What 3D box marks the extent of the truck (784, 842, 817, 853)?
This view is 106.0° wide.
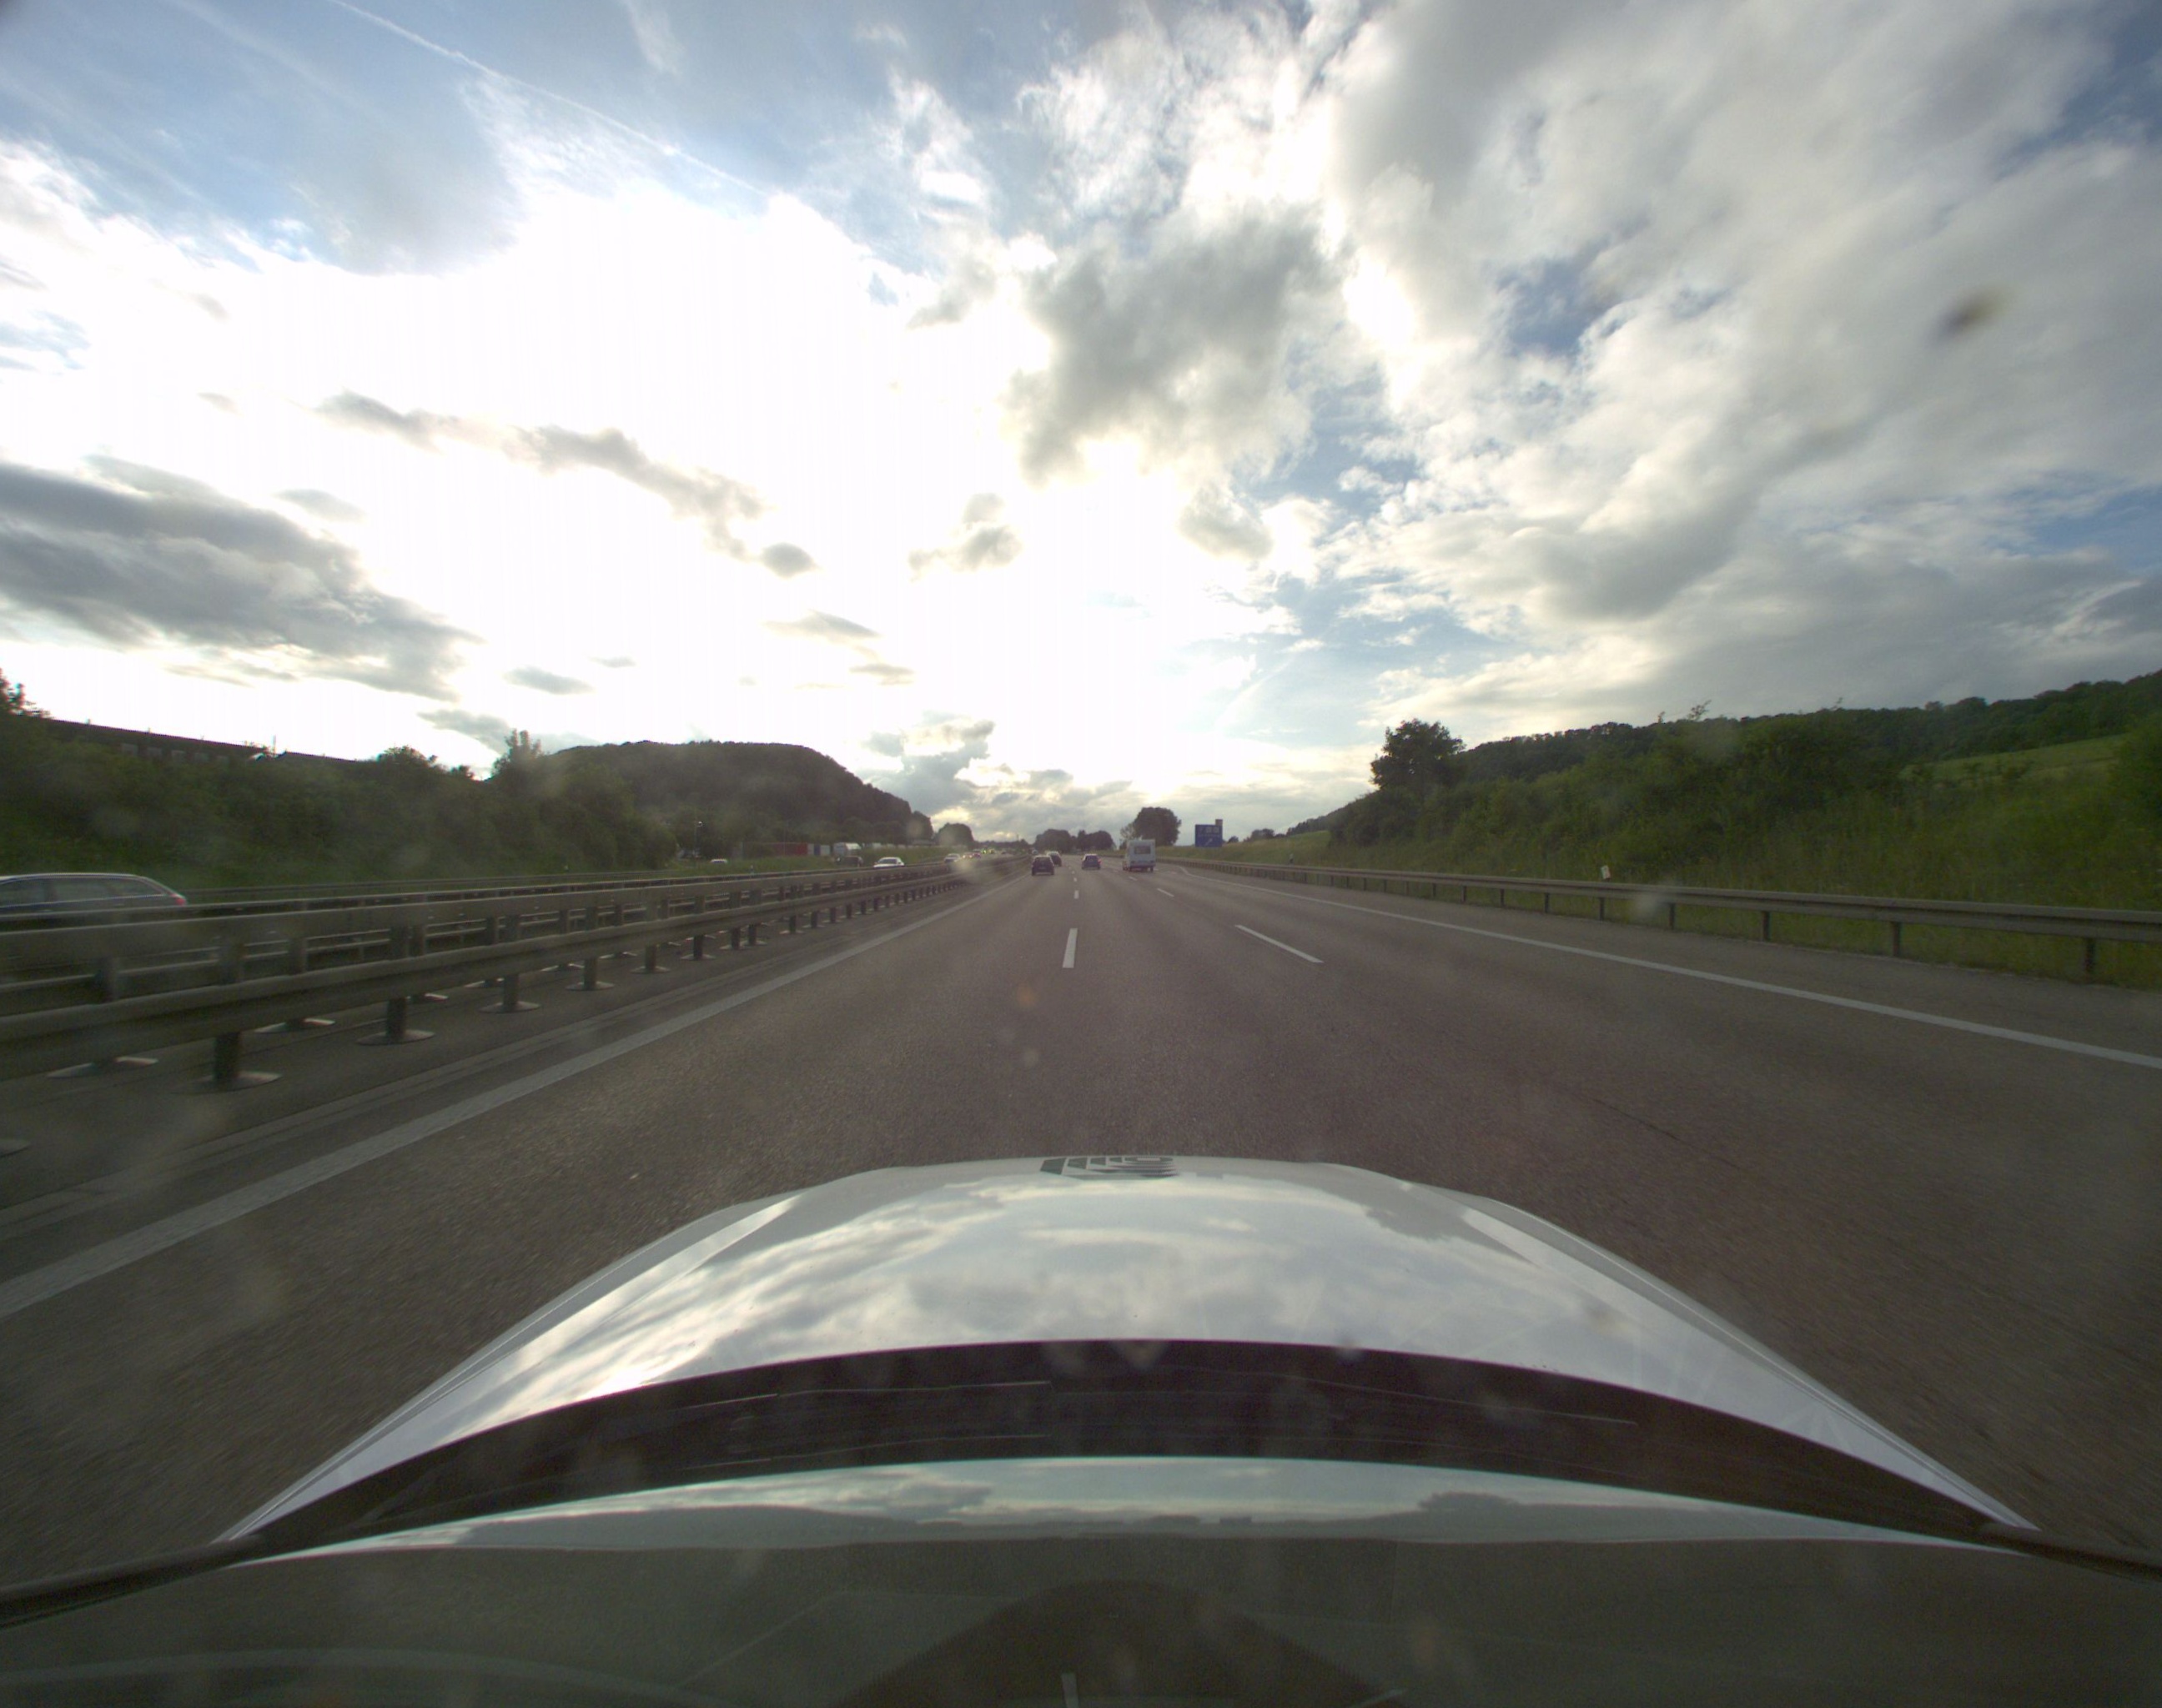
[{"bbox_3d":[-57.827,-1.290,167.822,7.214,2.226,2.919,-1,0,39],"label":"truck"}]

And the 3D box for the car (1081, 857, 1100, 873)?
[{"bbox_3d":[0.892,1.046,78.081,1.761,1.433,3.999,-2,0,0],"label":"car"}]

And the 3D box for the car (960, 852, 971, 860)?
[{"bbox_3d":[-22.723,0.436,160.602,1.991,1.497,4.683,-1,0,-5],"label":"car"}]

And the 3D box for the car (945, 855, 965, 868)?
[{"bbox_3d":[-16.690,0.975,108.029,1.988,1.497,4.689,-2,0,-2],"label":"car"}]

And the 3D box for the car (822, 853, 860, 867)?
[{"bbox_3d":[-31.038,0.761,105.386,4.610,1.551,1.991,-2,0,-14],"label":"car"}]

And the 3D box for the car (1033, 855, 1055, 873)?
[{"bbox_3d":[-2.762,0.749,61.726,1.533,1.348,3.675,-1,0,-1],"label":"car"}]

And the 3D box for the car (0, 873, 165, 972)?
[{"bbox_3d":[-17.419,1.074,12.538,1.985,1.486,4.004,-1,-1,4],"label":"car"}]

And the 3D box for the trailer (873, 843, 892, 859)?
[{"bbox_3d":[-47.250,-0.629,194.359,2.875,3.696,13.637,-2,0,-8],"label":"trailer"}]

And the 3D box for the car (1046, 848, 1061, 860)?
[{"bbox_3d":[-3.224,-0.037,94.997,1.562,1.380,3.995,-1,0,-3],"label":"car"}]

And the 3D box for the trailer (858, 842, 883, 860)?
[{"bbox_3d":[-44.372,-0.566,172.244,2.873,3.696,13.648,-2,0,-6],"label":"trailer"}]

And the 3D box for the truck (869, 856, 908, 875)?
[{"bbox_3d":[-14.726,0.873,62.418,1.988,1.365,4.642,-1,0,-2],"label":"truck"}]

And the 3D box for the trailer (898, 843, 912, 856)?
[{"bbox_3d":[-51.369,-1.327,237.879,2.873,3.696,10.353,-2,0,-5],"label":"trailer"}]

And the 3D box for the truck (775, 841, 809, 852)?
[{"bbox_3d":[-57.701,-1.418,162.629,7.214,2.014,2.918,-1,-1,39],"label":"truck"}]

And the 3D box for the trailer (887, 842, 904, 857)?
[{"bbox_3d":[-49.080,-1.147,215.576,2.873,3.696,10.353,-2,0,-5],"label":"trailer"}]

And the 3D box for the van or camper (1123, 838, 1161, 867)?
[{"bbox_3d":[4.920,-0.101,66.364,2.540,2.239,5.326,-1,-1,-1],"label":"van or camper"}]

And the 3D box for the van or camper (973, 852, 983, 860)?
[{"bbox_3d":[-24.243,0.400,190.968,1.911,1.873,4.750,-1,0,-3],"label":"van or camper"}]

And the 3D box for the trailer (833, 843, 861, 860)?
[{"bbox_3d":[-42.388,-0.441,148.009,2.575,2.853,12.240,0,-1,-5],"label":"trailer"}]
